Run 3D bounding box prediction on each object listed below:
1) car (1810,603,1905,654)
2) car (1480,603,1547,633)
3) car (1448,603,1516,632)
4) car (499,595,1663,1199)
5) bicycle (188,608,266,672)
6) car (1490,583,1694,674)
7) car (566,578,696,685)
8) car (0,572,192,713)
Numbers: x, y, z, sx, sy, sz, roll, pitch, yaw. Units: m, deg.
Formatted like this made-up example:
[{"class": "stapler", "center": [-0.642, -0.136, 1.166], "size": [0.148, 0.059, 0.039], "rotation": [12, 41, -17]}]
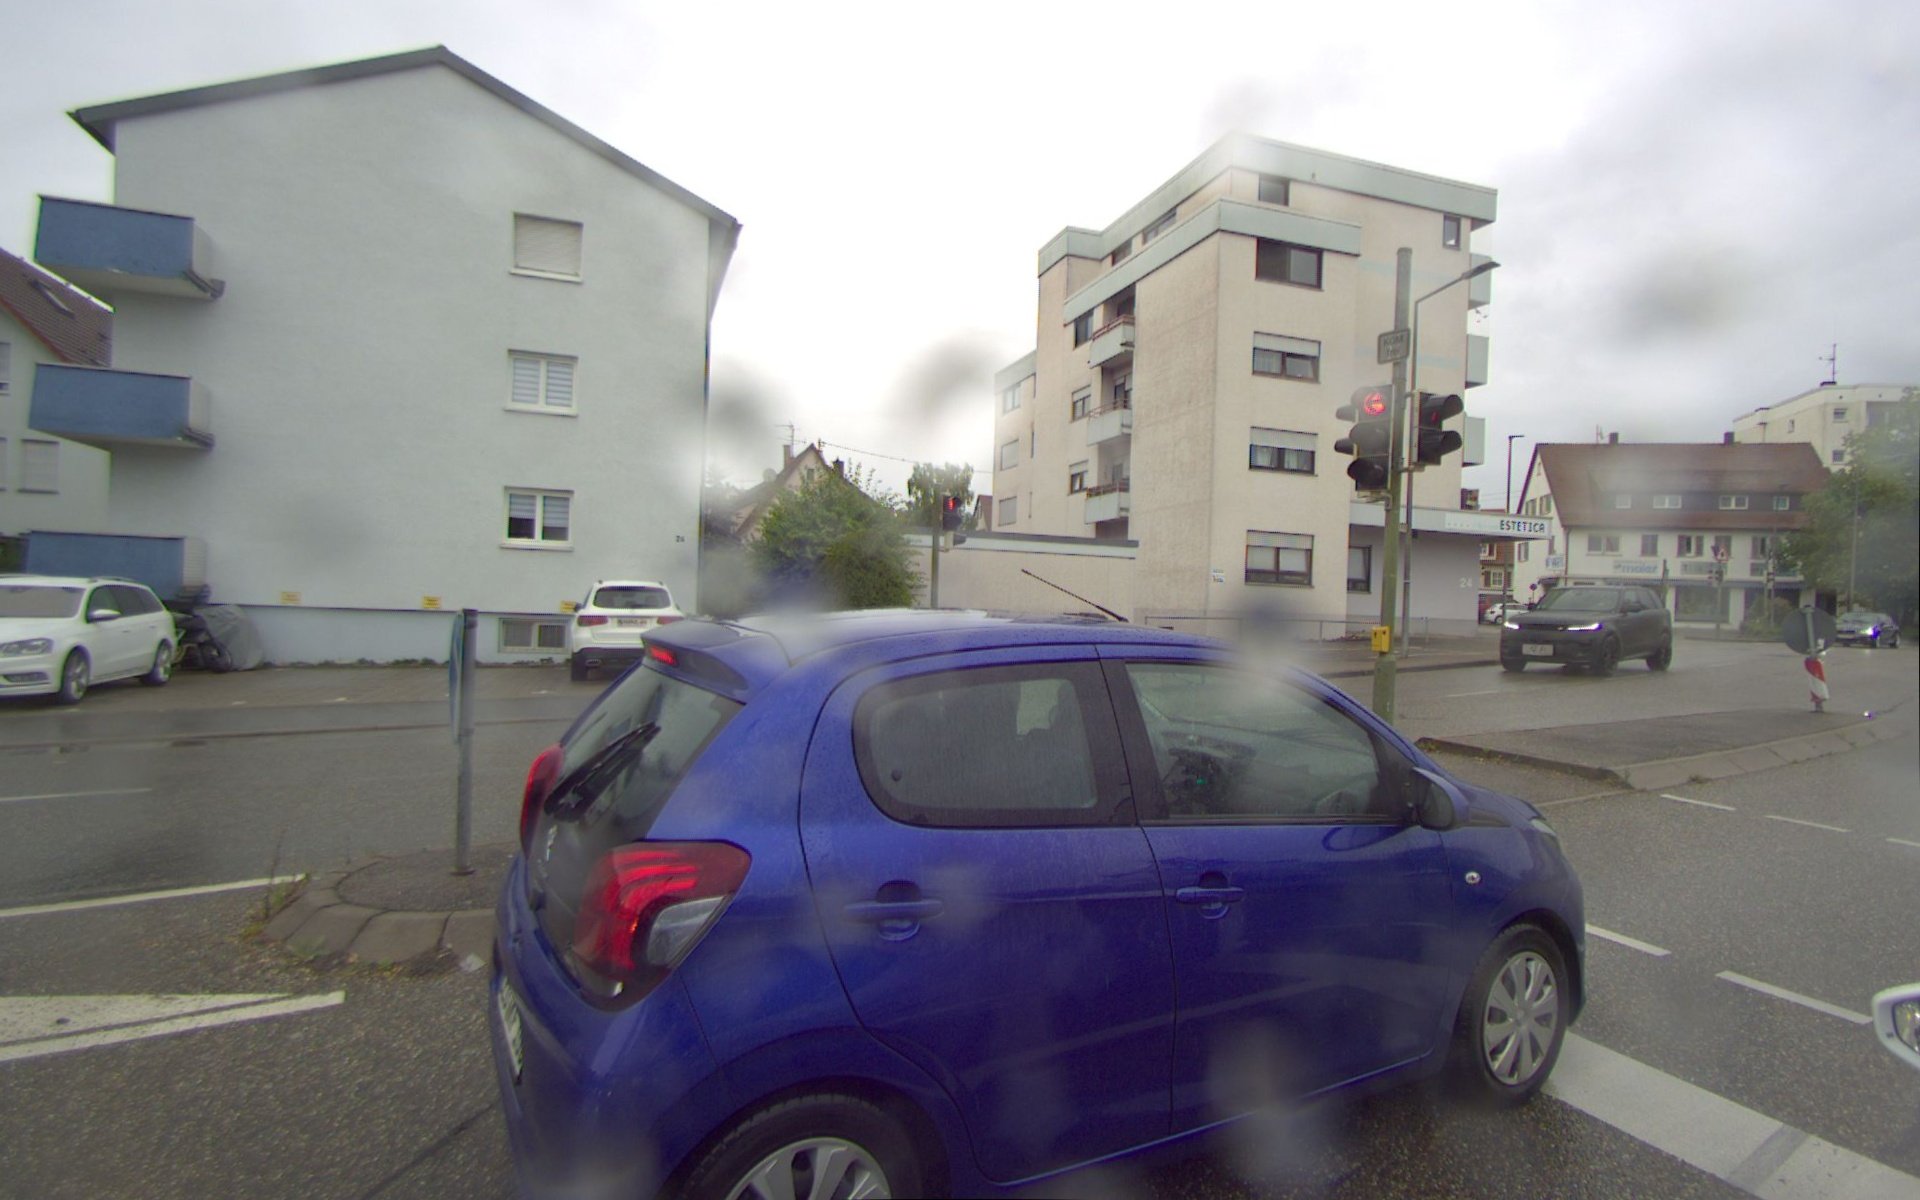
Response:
[{"class": "car", "center": [36.476, 1.151, 40.796], "size": [3.960, 1.929, 1.981], "rotation": [2, 0, -35]}, {"class": "car", "center": [37.926, 1.224, 68.886], "size": [3.611, 1.946, 1.889], "rotation": [2, 0, 14]}, {"class": "car", "center": [37.218, 1.230, 71.716], "size": [3.987, 1.868, 1.889], "rotation": [2, 0, 14]}, {"class": "car", "center": [0.479, 0.736, 3.087], "size": [3.324, 1.432, 1.498], "rotation": [1, 1, -30]}, {"class": "bicycle", "center": [-12.685, 0.684, 17.406], "size": [1.053, 1.067, 0.345], "rotation": [0, 1, -30]}, {"class": "car", "center": [13.686, 0.603, 21.636], "size": [5.132, 1.760, 1.979], "rotation": [2, 0, -37]}, {"class": "car", "center": [-5.755, 0.504, 17.562], "size": [1.884, 1.637, 3.982], "rotation": [2, 0, -19]}, {"class": "car", "center": [-11.472, 0.452, 12.492], "size": [1.854, 1.480, 4.732], "rotation": [1, -1, -23]}]
